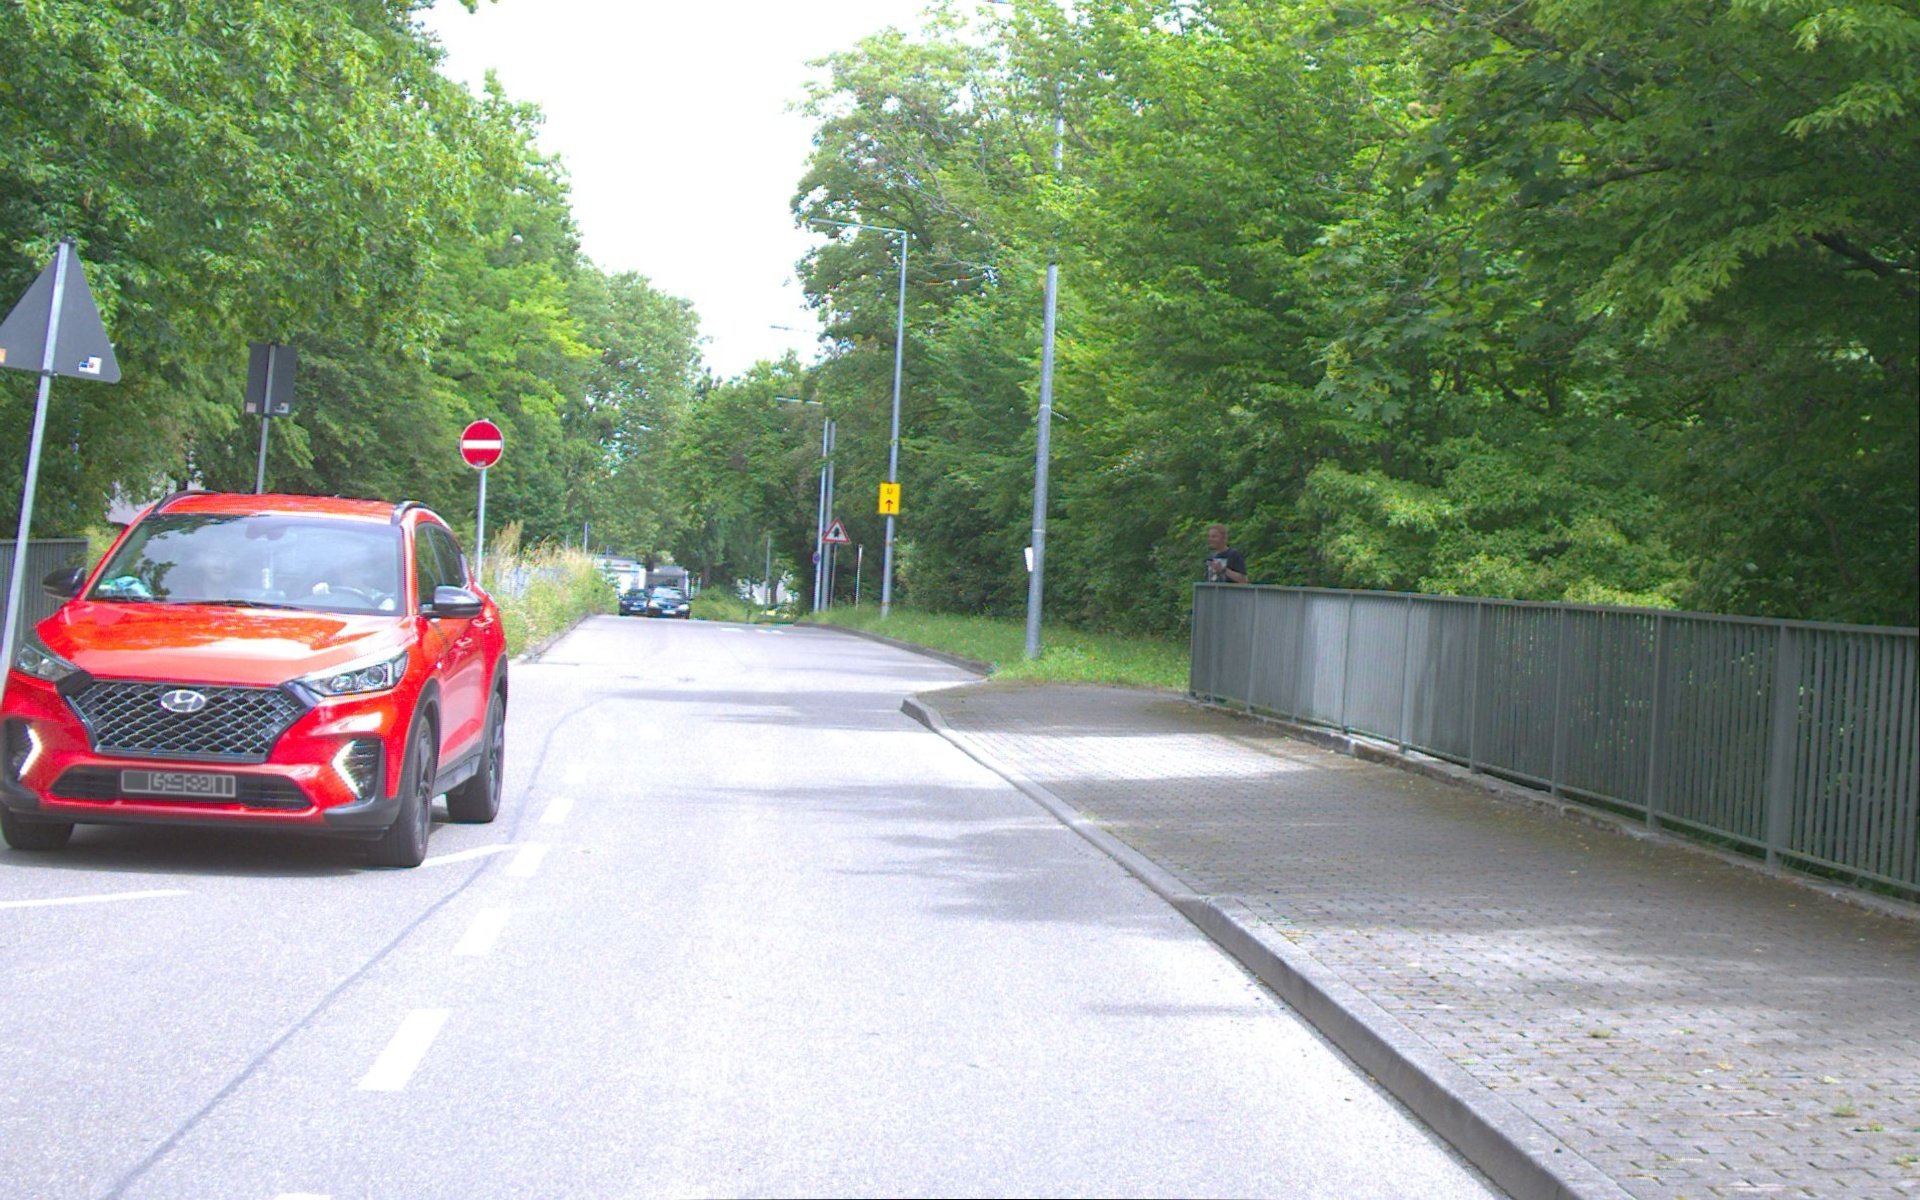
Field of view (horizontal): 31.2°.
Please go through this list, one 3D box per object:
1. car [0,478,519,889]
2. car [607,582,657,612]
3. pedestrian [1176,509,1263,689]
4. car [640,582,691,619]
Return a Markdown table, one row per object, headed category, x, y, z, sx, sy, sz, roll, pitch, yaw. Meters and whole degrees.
| category | x | y | z | sx | sy | sz | roll | pitch | yaw |
| --- | --- | --- | --- | --- | --- | --- | --- | --- | --- |
| car | -3.298 | 0.306 | 16.484 | 1.843 | 1.653 | 4.222 | 2 | 1 | -1 |
| car | -17.150 | -0.162 | 179.744 | 1.979 | 1.379 | 3.999 | 4 | 0 | 3 |
| pedestrian | 2.615 | -0.009 | 34.691 | 0.587 | 1.777 | 0.682 | 3 | 0 | -19 |
| car | -11.466 | 0.007 | 134.124 | 1.693 | 1.344 | 4.095 | 3 | 0 | -2 |
